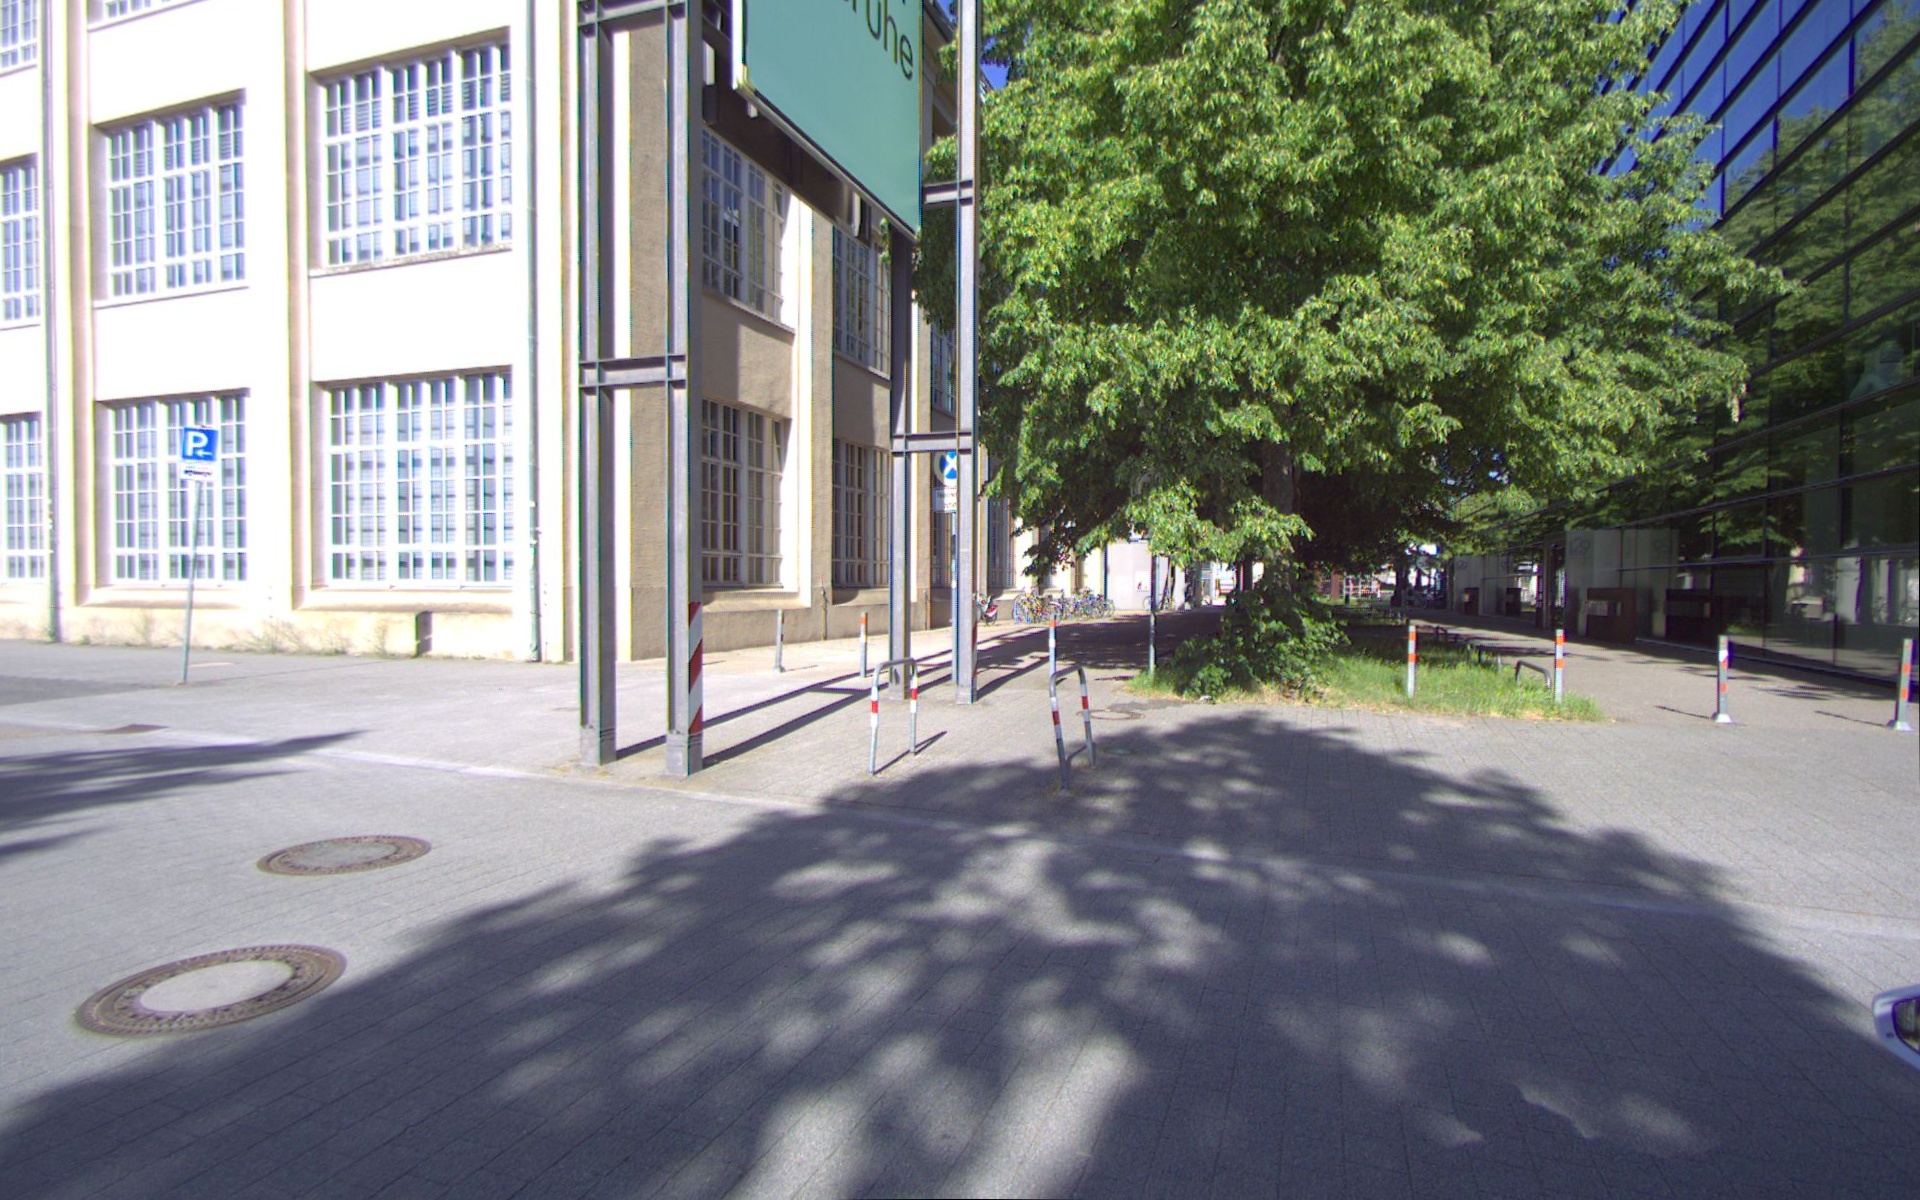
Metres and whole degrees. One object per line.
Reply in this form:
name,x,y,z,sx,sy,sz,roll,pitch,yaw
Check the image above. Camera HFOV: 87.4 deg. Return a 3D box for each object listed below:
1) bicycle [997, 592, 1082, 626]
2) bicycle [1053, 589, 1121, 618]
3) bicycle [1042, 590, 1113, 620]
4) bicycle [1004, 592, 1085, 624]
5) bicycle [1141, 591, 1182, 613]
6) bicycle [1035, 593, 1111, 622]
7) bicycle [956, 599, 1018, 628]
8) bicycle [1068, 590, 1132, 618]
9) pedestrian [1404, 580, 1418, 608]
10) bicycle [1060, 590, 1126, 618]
bicycle,2.685,0.285,33.869,2.753,1.077,0.719,1,1,16
bicycle,5.269,0.127,41.702,2.685,1.166,0.719,1,1,16
bicycle,4.716,0.180,40.239,2.753,1.166,0.719,1,1,16
bicycle,2.969,0.276,35.415,2.754,1.077,0.718,1,2,21
bicycle,10.391,0.097,51.806,2.024,1.081,0.506,1,2,23
bicycle,4.275,0.274,38.046,2.753,1.077,0.719,1,1,16
bicycle,0.889,0.410,31.751,0.766,0.803,2.879,1,1,28
bicycle,6.149,0.156,44.196,2.685,1.166,0.719,1,1,16
pedestrian,25.723,-0.354,57.266,0.705,1.571,0.689,1,2,26
bicycle,5.617,0.163,42.415,2.685,1.166,0.719,1,1,16
